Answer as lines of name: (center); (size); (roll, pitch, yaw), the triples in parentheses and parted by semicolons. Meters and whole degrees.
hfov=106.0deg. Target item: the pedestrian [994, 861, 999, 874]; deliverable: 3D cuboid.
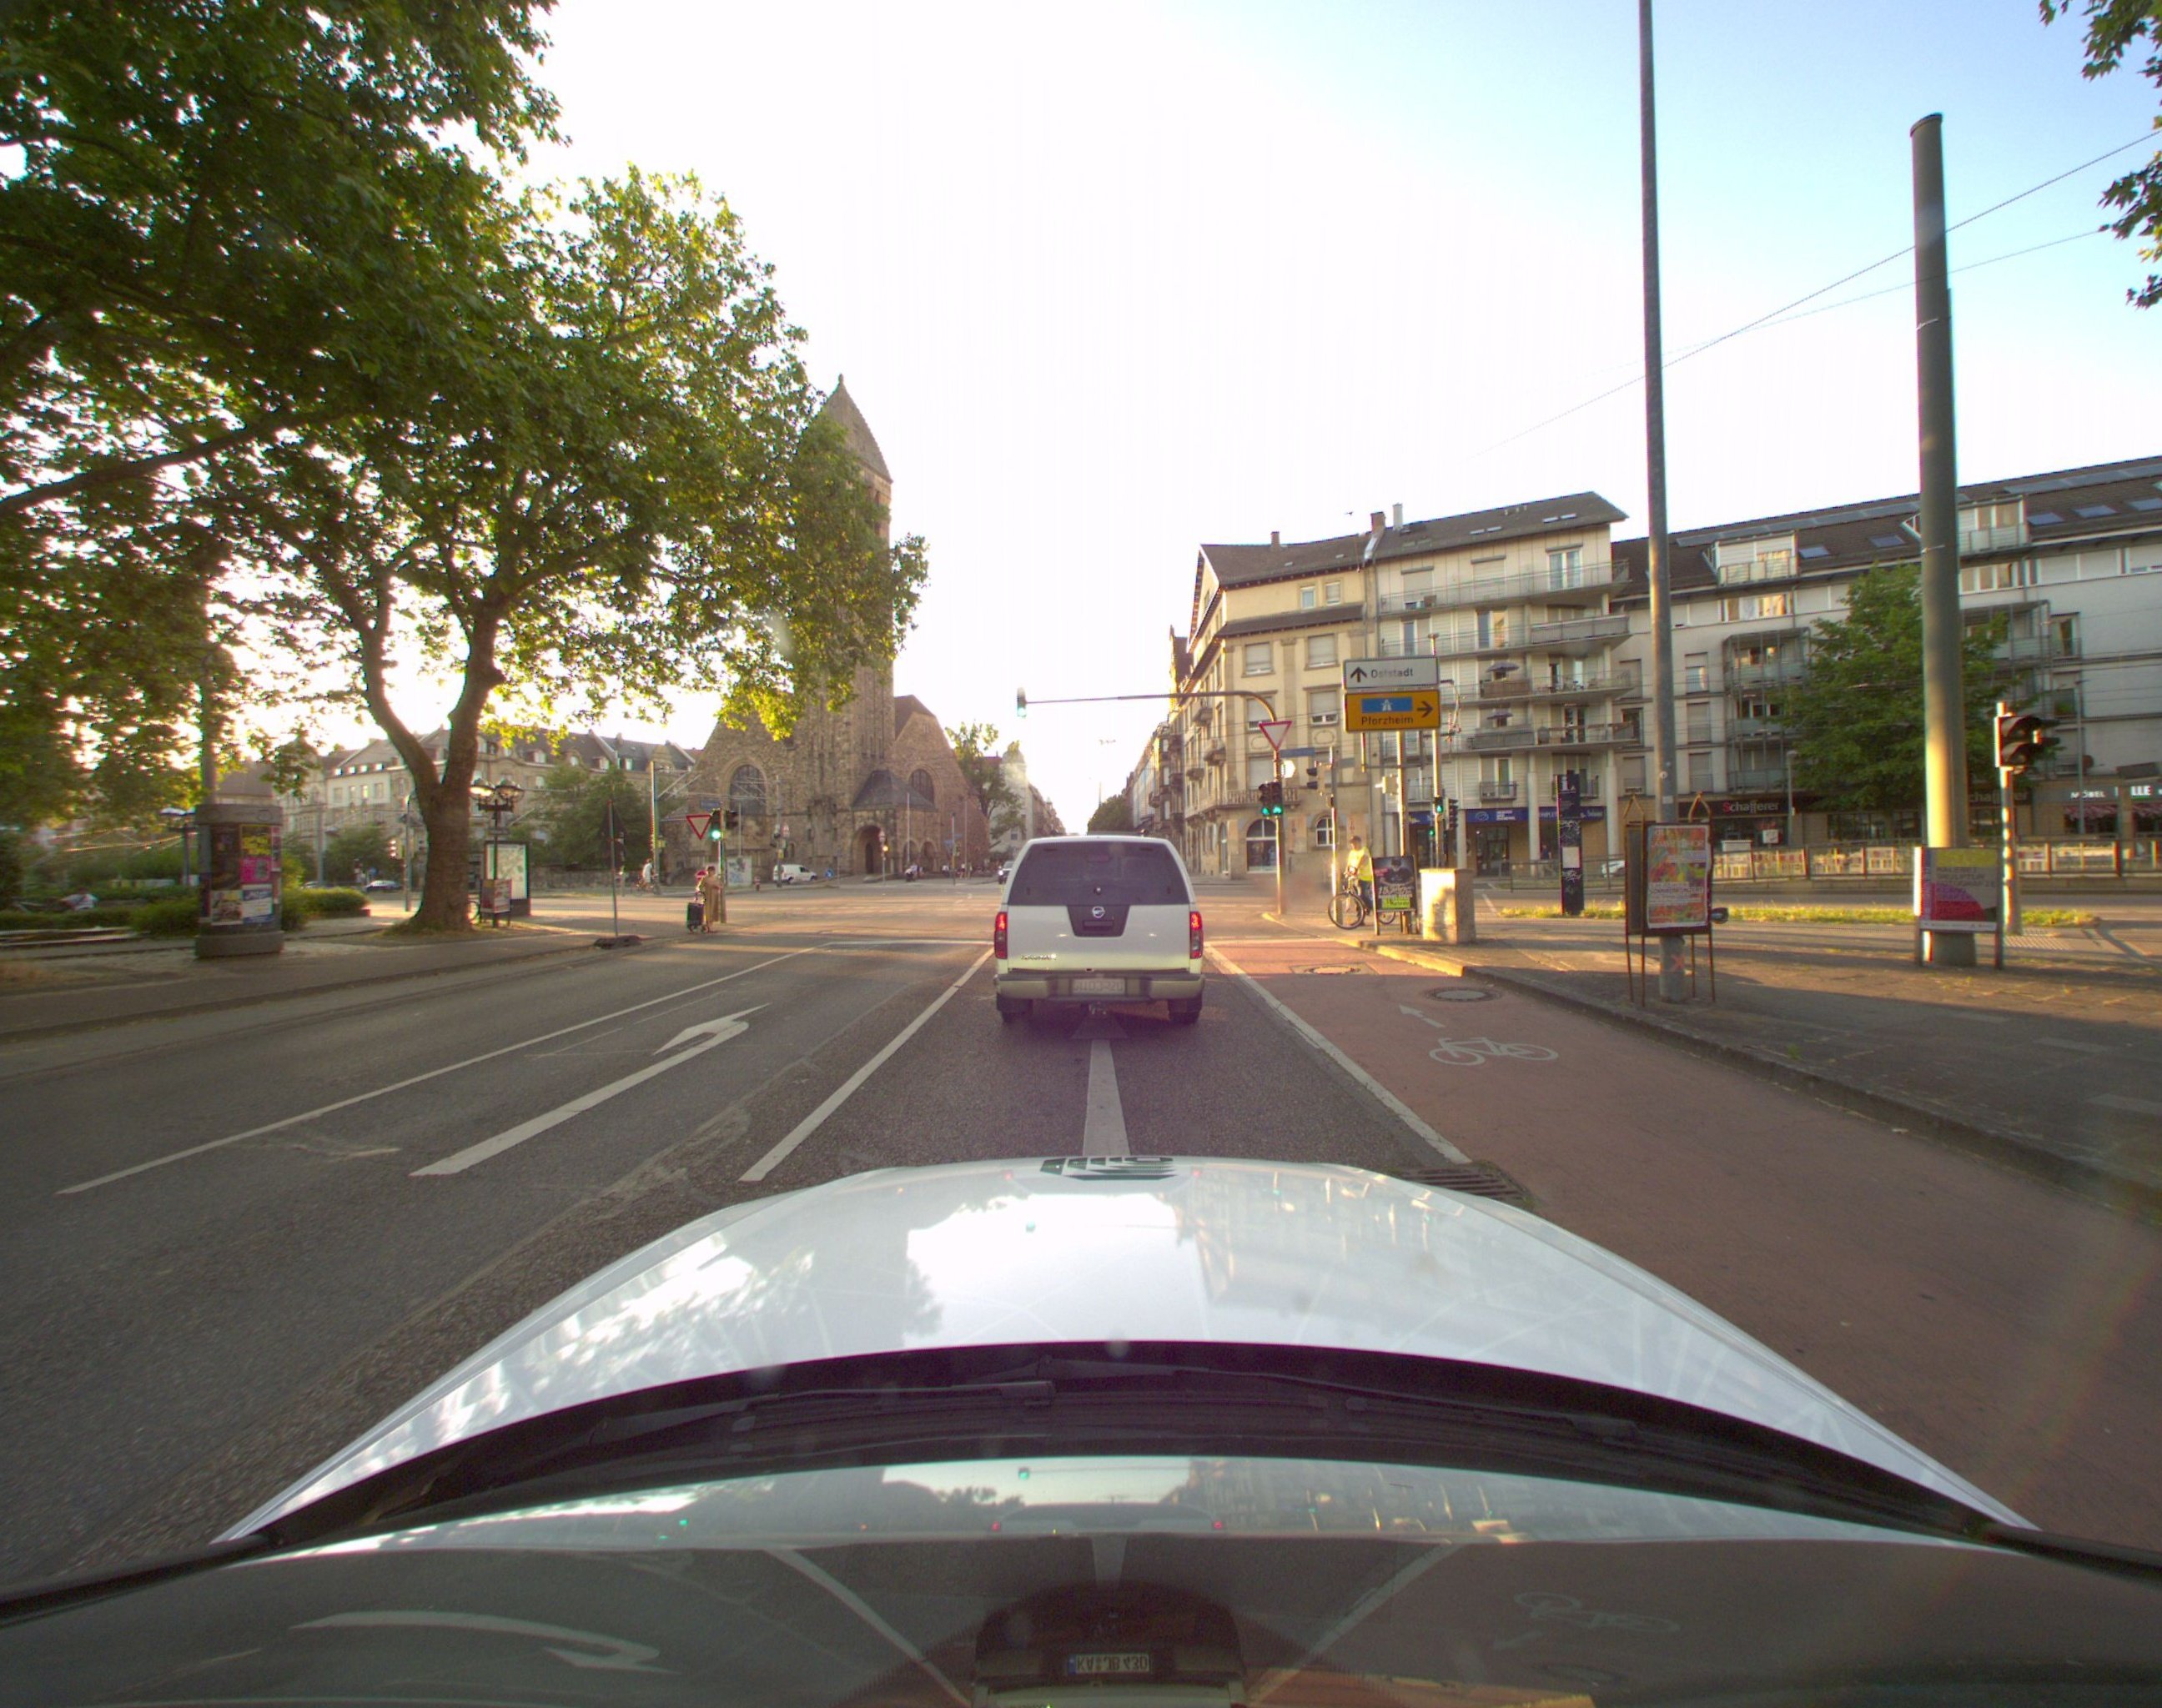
pedestrian: (-11.080, 1.714, 106.961); (0.559, 1.695, 0.643); (0, -1, -6)

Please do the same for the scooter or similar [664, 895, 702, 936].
scooter or similar: (-9.488, 1.457, 19.427); (0.591, 0.898, 0.849); (0, -1, -9)

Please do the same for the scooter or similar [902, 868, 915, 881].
scooter or similar: (-14.808, 1.778, 69.844); (0.629, 1.103, 1.082); (-2, -1, 13)

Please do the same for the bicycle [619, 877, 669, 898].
bicycle: (-23.526, 1.804, 43.879); (0.650, 1.078, 2.259); (2, 0, 35)

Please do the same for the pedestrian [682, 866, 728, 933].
pedestrian: (-9.367, 1.110, 20.294); (0.800, 1.628, 0.773); (0, -1, -4)

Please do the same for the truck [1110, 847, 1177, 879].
truck: (5.295, 0.725, 68.680); (5.704, 2.565, 2.260); (0, -1, -42)

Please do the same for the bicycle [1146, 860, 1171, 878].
bicycle: (6.069, 1.189, 63.742); (1.812, 1.238, 0.477); (-5, -1, -1)

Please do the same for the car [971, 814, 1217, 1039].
car: (0.167, 0.623, 8.601); (1.986, 1.809, 4.001); (0, -1, 2)

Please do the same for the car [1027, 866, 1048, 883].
car: (-4.228, 2.009, 79.196); (1.989, 1.558, 4.762); (-2, -1, -3)

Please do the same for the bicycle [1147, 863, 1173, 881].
bicycle: (6.103, 1.413, 63.025); (1.812, 1.238, 0.488); (-5, -1, -1)

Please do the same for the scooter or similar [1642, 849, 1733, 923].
scooter or similar: (10.663, 0.551, 14.330); (1.219, 1.249, 0.518); (-2, -2, 41)

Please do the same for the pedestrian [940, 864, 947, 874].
pedestrian: (-13.641, 1.507, 80.743); (0.517, 0.960, 0.481); (-1, -1, 19)

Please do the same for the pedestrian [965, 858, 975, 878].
pedestrian: (-10.491, 1.332, 76.804); (0.809, 1.901, 0.666); (0, -1, -1)

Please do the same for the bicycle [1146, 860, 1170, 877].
bicycle: (6.139, 1.179, 65.072); (1.812, 1.238, 0.410); (-5, -1, -1)

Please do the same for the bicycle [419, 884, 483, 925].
bicycle: (-18.078, 1.419, 23.421); (0.456, 1.093, 1.798); (0, -1, 0)

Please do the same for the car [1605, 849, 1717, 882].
car: (26.808, 0.555, 37.786); (3.950, 1.486, 1.860); (-1, -1, 26)

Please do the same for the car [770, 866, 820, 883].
car: (-26.379, 1.876, 75.186); (1.698, 1.517, 4.481); (-1, -1, 26)

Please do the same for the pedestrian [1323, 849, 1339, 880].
pedestrian: (14.501, 0.628, 47.273); (0.779, 1.779, 0.546); (-1, -2, 27)

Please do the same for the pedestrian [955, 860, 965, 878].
pedestrian: (-11.421, 1.441, 76.758); (0.809, 1.669, 0.859); (0, -1, -1)

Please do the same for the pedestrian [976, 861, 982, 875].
pedestrian: (-12.491, 1.767, 100.146); (0.640, 1.695, 0.562); (0, -1, 1)

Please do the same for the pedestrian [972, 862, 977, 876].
pedestrian: (-12.782, 1.768, 97.849); (0.642, 1.695, 0.560); (0, -1, -7)

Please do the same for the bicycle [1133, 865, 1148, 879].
bicycle: (4.614, 1.408, 63.468); (1.073, 1.024, 0.317); (-5, -1, -1)

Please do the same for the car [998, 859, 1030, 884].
car: (-5.069, 1.261, 61.921); (1.987, 1.784, 4.798); (0, 0, 0)

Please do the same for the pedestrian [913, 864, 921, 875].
pedestrian: (-15.086, 1.417, 75.064); (0.517, 0.960, 0.482); (-1, -1, 21)

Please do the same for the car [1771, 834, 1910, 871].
car: (32.652, -0.022, 35.162); (3.952, 1.486, 1.859); (-1, -1, 21)

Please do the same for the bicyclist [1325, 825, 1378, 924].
bicyclist: (5.087, 0.381, 15.330); (0.701, 1.824, 0.622); (0, -2, -31)

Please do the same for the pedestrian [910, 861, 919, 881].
pedestrian: (-14.525, 1.482, 71.009); (0.629, 1.698, 0.605); (-1, -1, 12)

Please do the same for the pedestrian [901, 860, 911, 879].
pedestrian: (-15.236, 1.348, 70.991); (0.629, 1.698, 0.604); (-1, -1, 11)

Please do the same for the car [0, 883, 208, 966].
car: (-26.721, 1.841, 21.443); (1.975, 1.781, 4.669); (-3, 1, 27)

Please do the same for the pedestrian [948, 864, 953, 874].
pedestrian: (-12.906, 1.448, 80.557); (0.522, 0.960, 0.477); (0, -1, -14)

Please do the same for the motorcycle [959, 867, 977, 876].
motorcycle: (-13.381, 2.091, 96.344); (2.146, 0.988, 0.597); (-1, -1, 21)

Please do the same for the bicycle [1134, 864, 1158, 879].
bicycle: (5.008, 1.344, 62.576); (1.721, 1.083, 0.317); (-5, -1, -1)

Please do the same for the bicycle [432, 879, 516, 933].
bicycle: (-15.851, 1.327, 21.341); (0.522, 1.326, 1.997); (-1, -1, 7)

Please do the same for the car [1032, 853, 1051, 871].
car: (-4.641, 0.950, 96.460); (1.987, 2.013, 4.950); (-2, 0, 0)

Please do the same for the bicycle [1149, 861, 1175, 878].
bicycle: (6.179, 1.198, 62.086); (1.812, 1.150, 0.636); (-5, -1, -1)

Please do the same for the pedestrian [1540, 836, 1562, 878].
pedestrian: (24.641, 0.164, 42.708); (0.860, 2.209, 0.825); (-1, -1, 21)

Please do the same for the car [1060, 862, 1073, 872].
car: (-2.169, 1.987, 125.816); (1.852, 1.529, 4.000); (-1, -1, 0)

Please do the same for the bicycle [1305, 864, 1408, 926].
bicycle: (5.226, 0.744, 15.403); (2.079, 1.109, 0.622); (0, -1, -31)

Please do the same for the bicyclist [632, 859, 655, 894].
bicyclist: (-23.558, 1.199, 43.824); (0.650, 1.827, 0.865); (0, 1, 34)

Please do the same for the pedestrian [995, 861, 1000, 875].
pedestrian: (-10.856, 1.780, 106.115); (0.643, 1.855, 0.559); (0, -1, -13)

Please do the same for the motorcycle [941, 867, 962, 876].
motorcycle: (-14.634, 2.025, 92.055); (2.239, 0.988, 0.707); (0, -1, -4)

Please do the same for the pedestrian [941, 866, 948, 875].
pedestrian: (-14.890, 1.764, 88.806); (0.547, 0.960, 0.713); (-1, -1, 22)

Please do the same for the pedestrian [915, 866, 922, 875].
pedestrian: (-17.243, 1.743, 86.500); (0.554, 0.960, 0.704); (0, -1, -23)

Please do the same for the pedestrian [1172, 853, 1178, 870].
pedestrian: (9.031, 0.748, 78.473); (0.525, 1.654, 0.547); (-1, -1, 1)

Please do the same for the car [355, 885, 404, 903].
car: (-71.952, 4.118, 83.509); (3.955, 1.618, 2.009); (-3, -1, 18)
